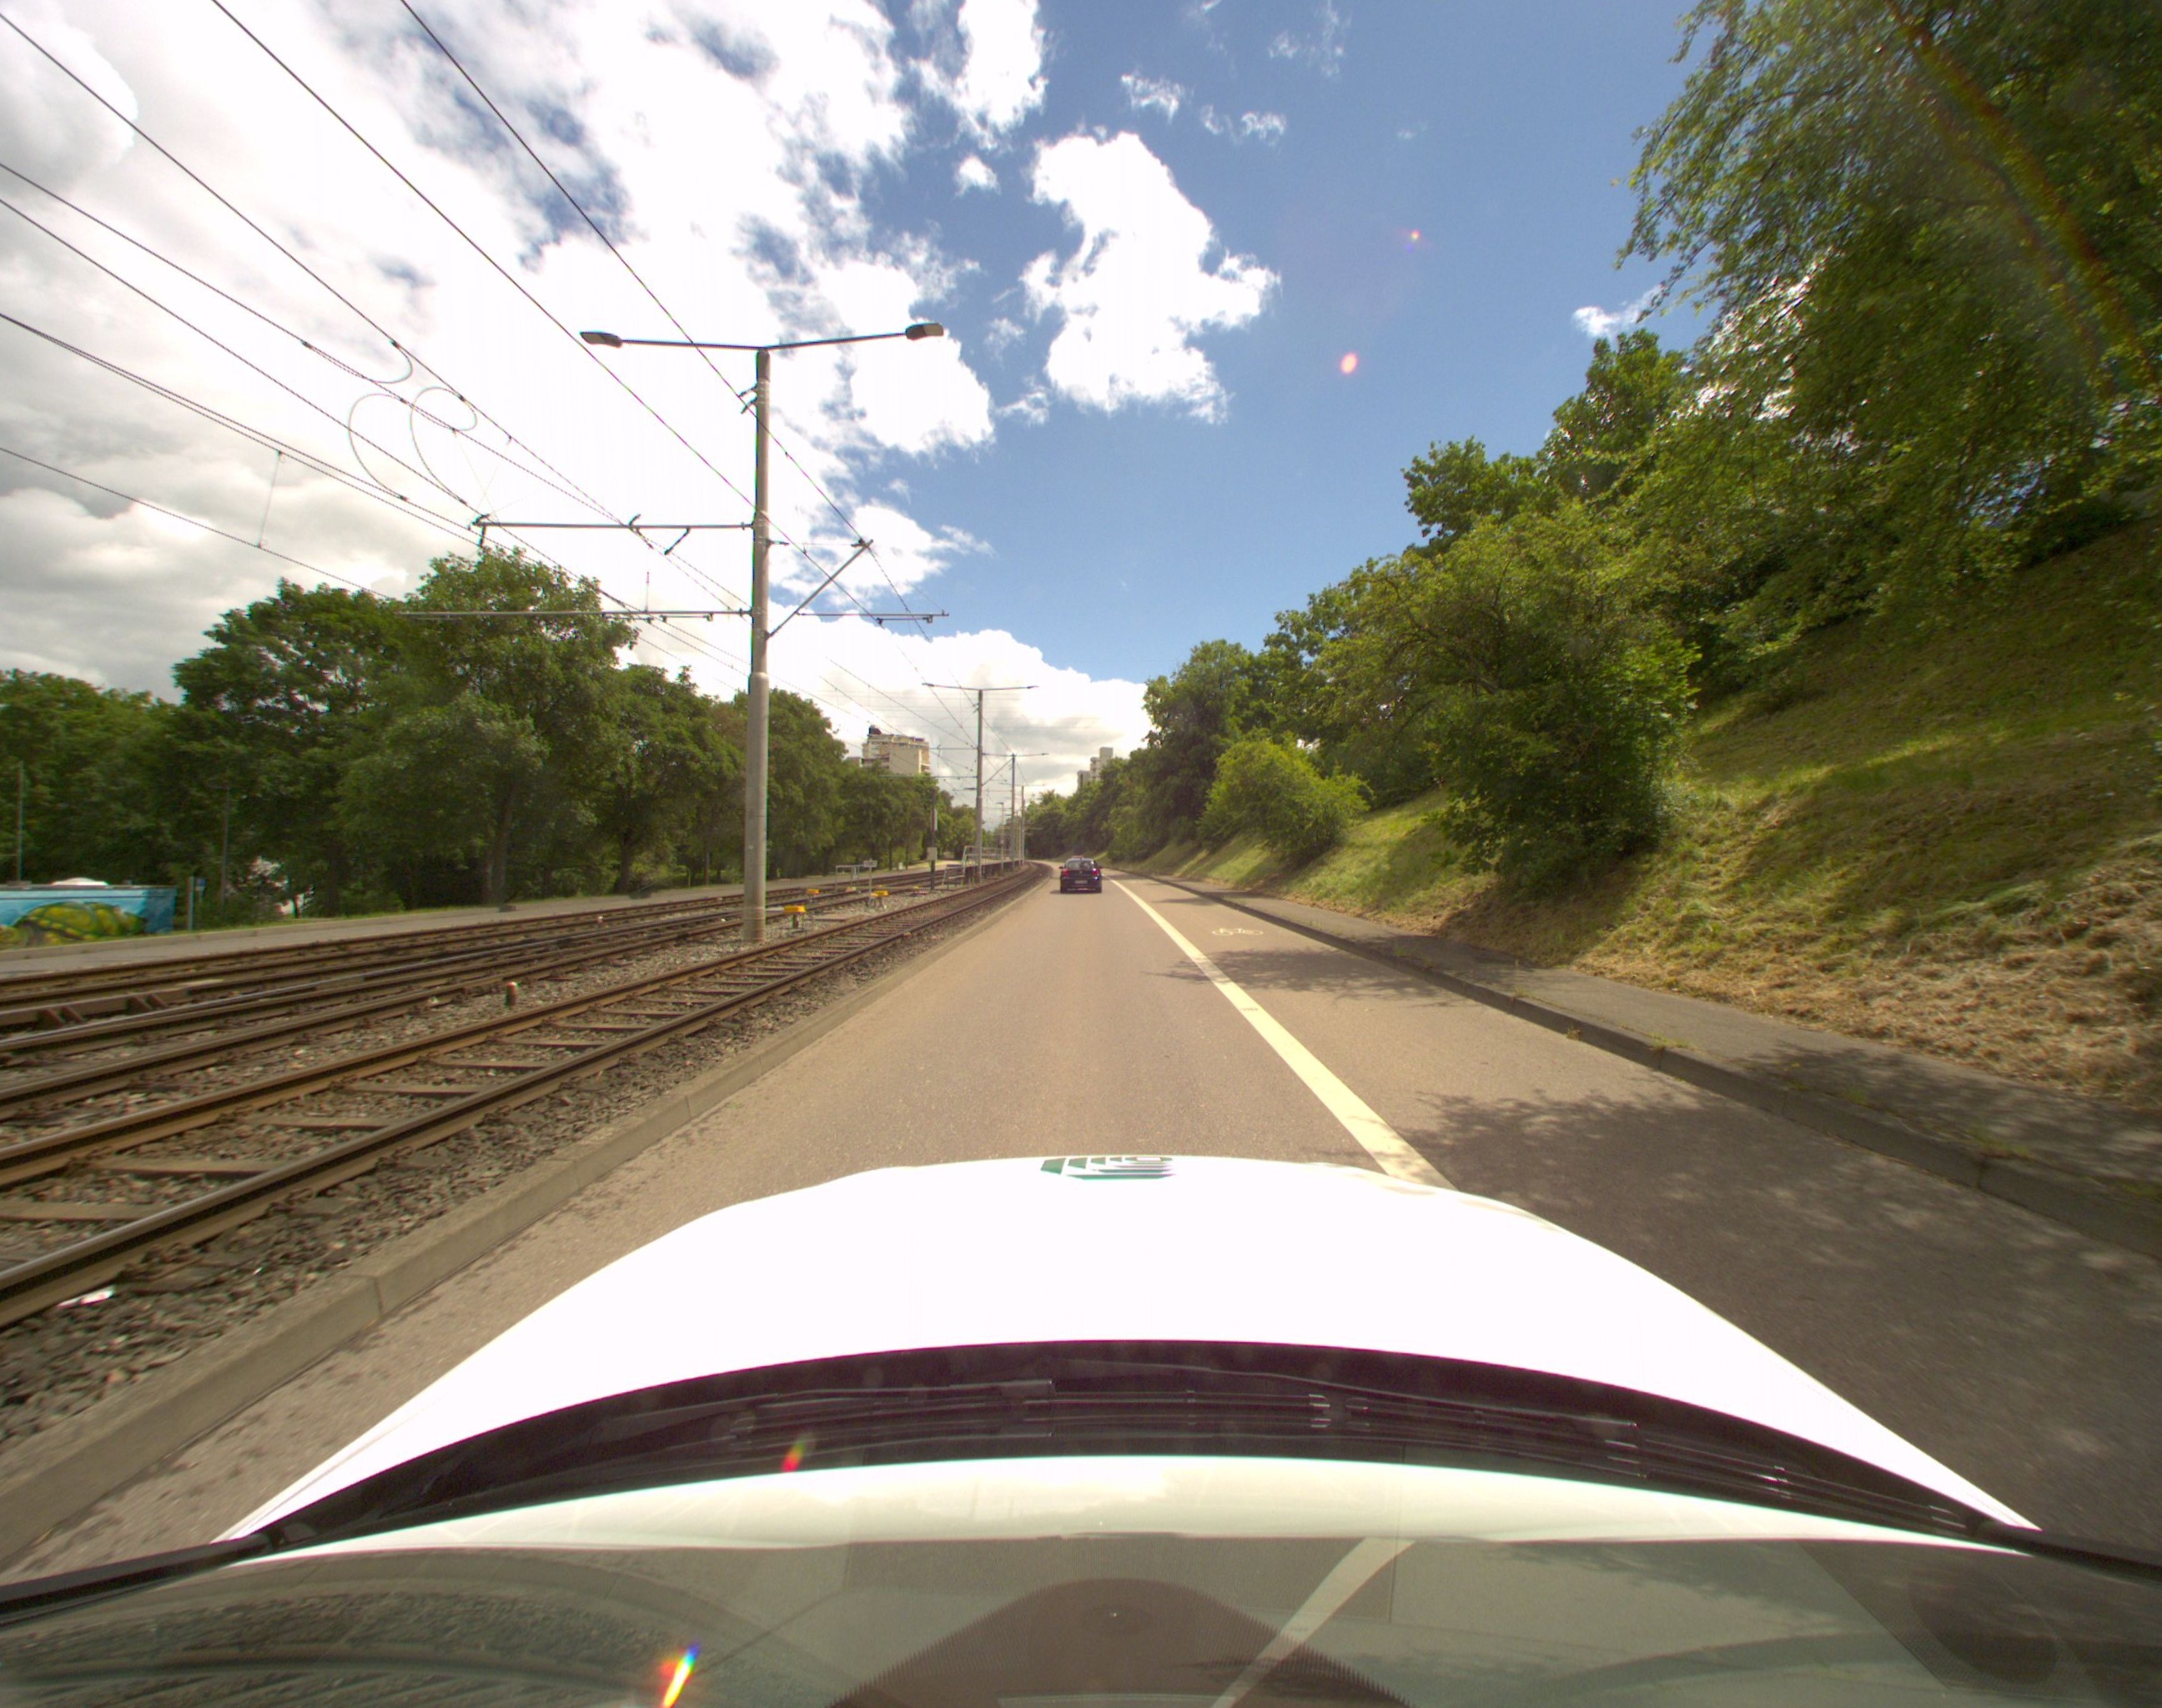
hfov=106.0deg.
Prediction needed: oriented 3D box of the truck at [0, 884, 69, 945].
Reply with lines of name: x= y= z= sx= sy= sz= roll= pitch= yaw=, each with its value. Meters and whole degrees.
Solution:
truck: x=-53.366 y=2.945 z=38.020 sx=9.056 sy=2.695 sz=2.616 roll=-2 pitch=0 yaw=1

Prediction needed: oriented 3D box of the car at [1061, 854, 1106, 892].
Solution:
car: x=0.153 y=0.796 z=34.477 sx=1.702 sy=1.460 sz=3.962 roll=2 pitch=-1 yaw=2

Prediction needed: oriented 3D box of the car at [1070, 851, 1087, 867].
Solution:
car: x=-0.265 y=0.493 z=84.182 sx=1.620 sy=1.443 sz=3.420 roll=1 pitch=2 yaw=-1
